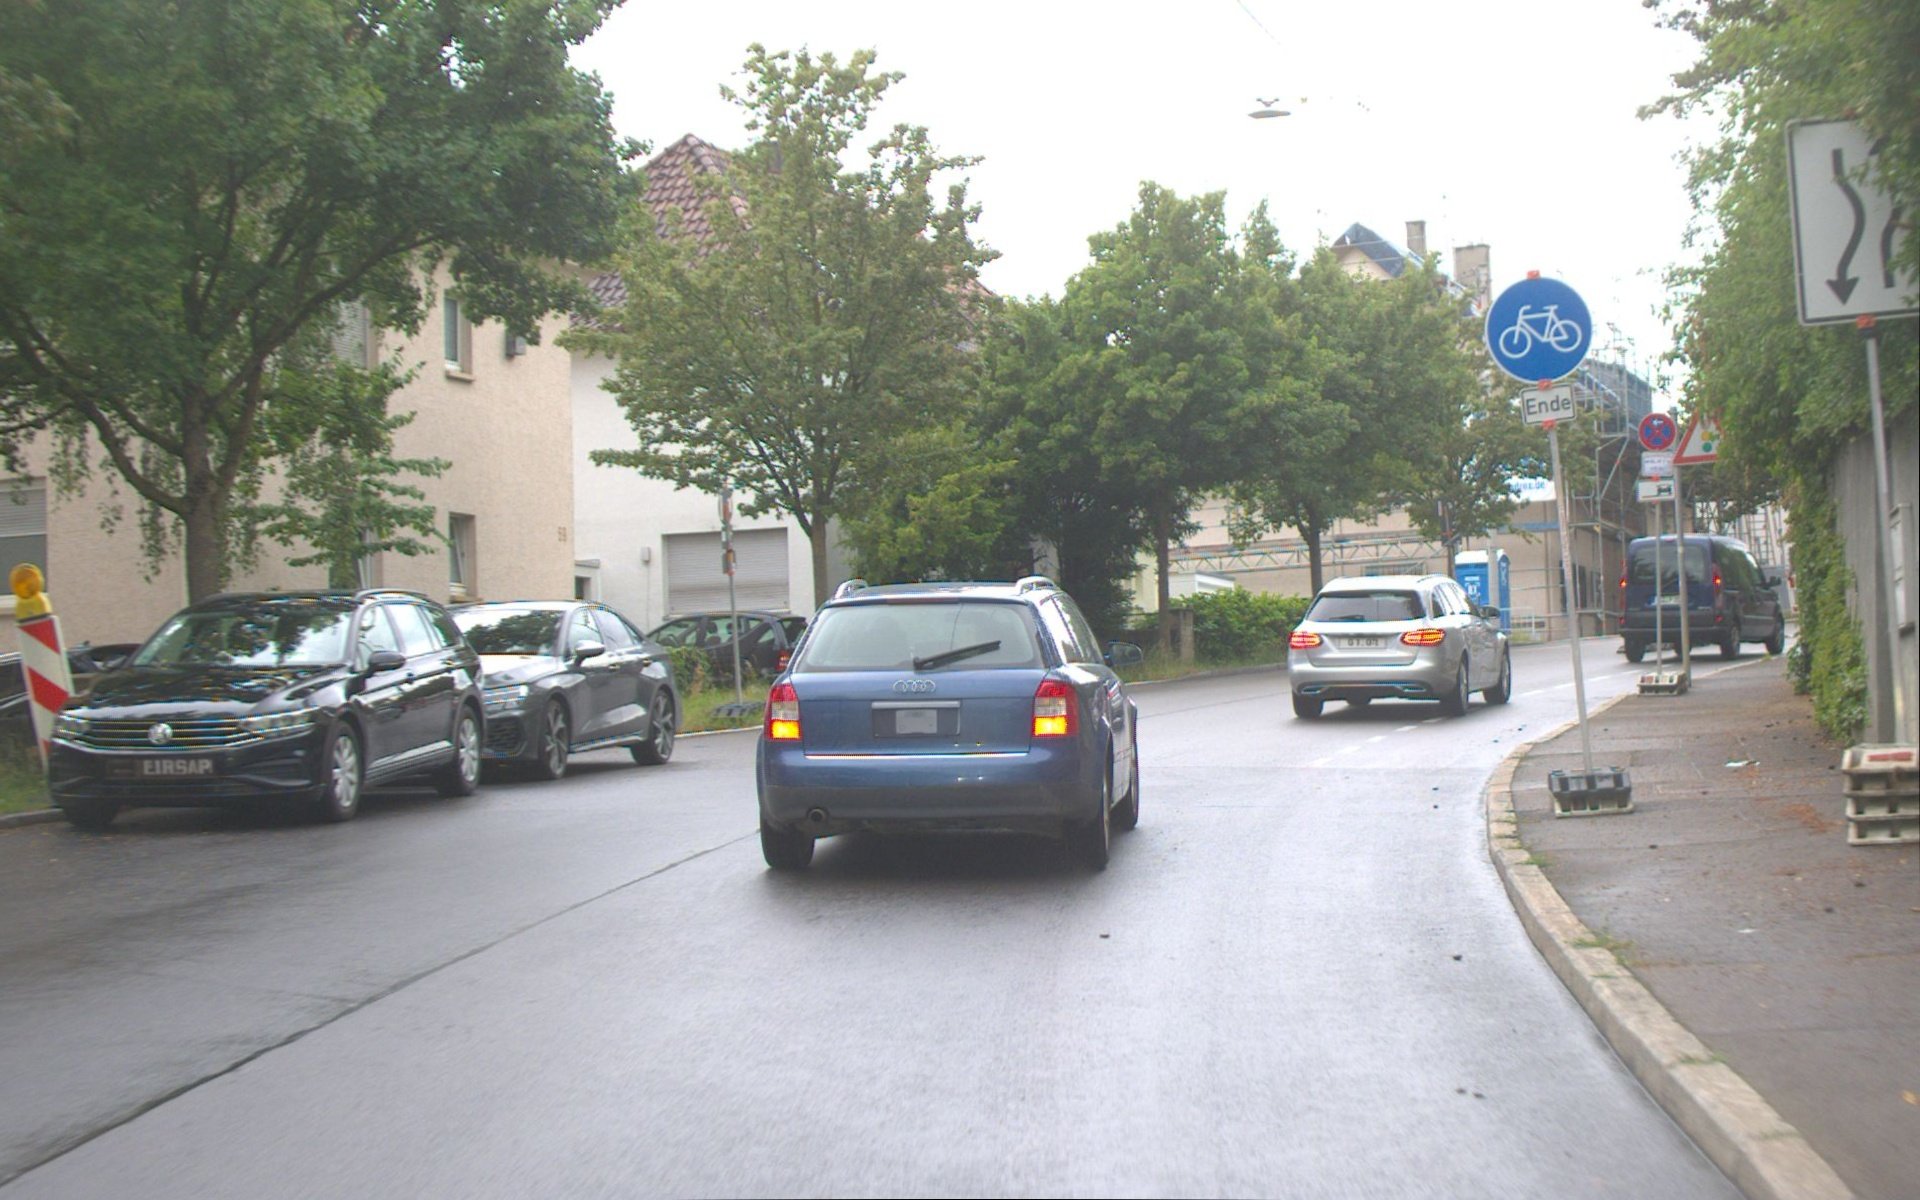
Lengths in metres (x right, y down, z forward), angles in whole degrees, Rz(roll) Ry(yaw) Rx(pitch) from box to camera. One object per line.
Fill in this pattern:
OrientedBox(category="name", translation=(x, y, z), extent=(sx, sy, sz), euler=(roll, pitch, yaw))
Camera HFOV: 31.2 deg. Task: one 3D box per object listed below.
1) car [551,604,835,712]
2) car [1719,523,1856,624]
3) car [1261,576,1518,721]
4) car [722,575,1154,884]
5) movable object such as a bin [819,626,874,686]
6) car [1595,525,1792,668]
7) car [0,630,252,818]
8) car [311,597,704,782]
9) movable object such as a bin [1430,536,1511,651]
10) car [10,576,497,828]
OrientedBox(category="car", translation=(-4.106, 0.867, 52.913), extent=(3.945, 1.537, 1.861), euler=(1, 1, 23))
OrientedBox(category="car", translation=(14.422, -0.443, 59.799), extent=(1.722, 1.654, 3.709), euler=(1, 0, 23))
OrientedBox(category="car", translation=(4.636, 0.474, 36.594), extent=(1.910, 1.384, 4.347), euler=(-2, 0, 18))
OrientedBox(category="car", translation=(0.001, 0.595, 18.167), extent=(1.777, 1.434, 3.999), euler=(0, 1, 7))
OrientedBox(category="movable object such as a bin", translation=(-1.782, 0.871, 53.973), extent=(0.670, 0.918, 0.591), euler=(-1, 0, 23))
OrientedBox(category="car", translation=(10.920, -0.073, 51.003), extent=(1.733, 1.888, 4.049), euler=(-6, -2, 26))
OrientedBox(category="car", translation=(-9.693, 1.404, 35.356), extent=(4.243, 1.500, 1.911), euler=(-10, -3, 23))
OrientedBox(category="car", translation=(-3.593, 0.679, 28.153), extent=(1.707, 1.378, 4.527), euler=(-1, 0, 13))
OrientedBox(category="movable object such as a bin", translation=(11.575, -0.154, 77.960), extent=(1.314, 2.497, 1.384), euler=(-4, -1, 26))
OrientedBox(category="car", translation=(-4.516, 0.609, 22.714), extent=(1.733, 1.479, 4.528), euler=(-1, 0, 8))
